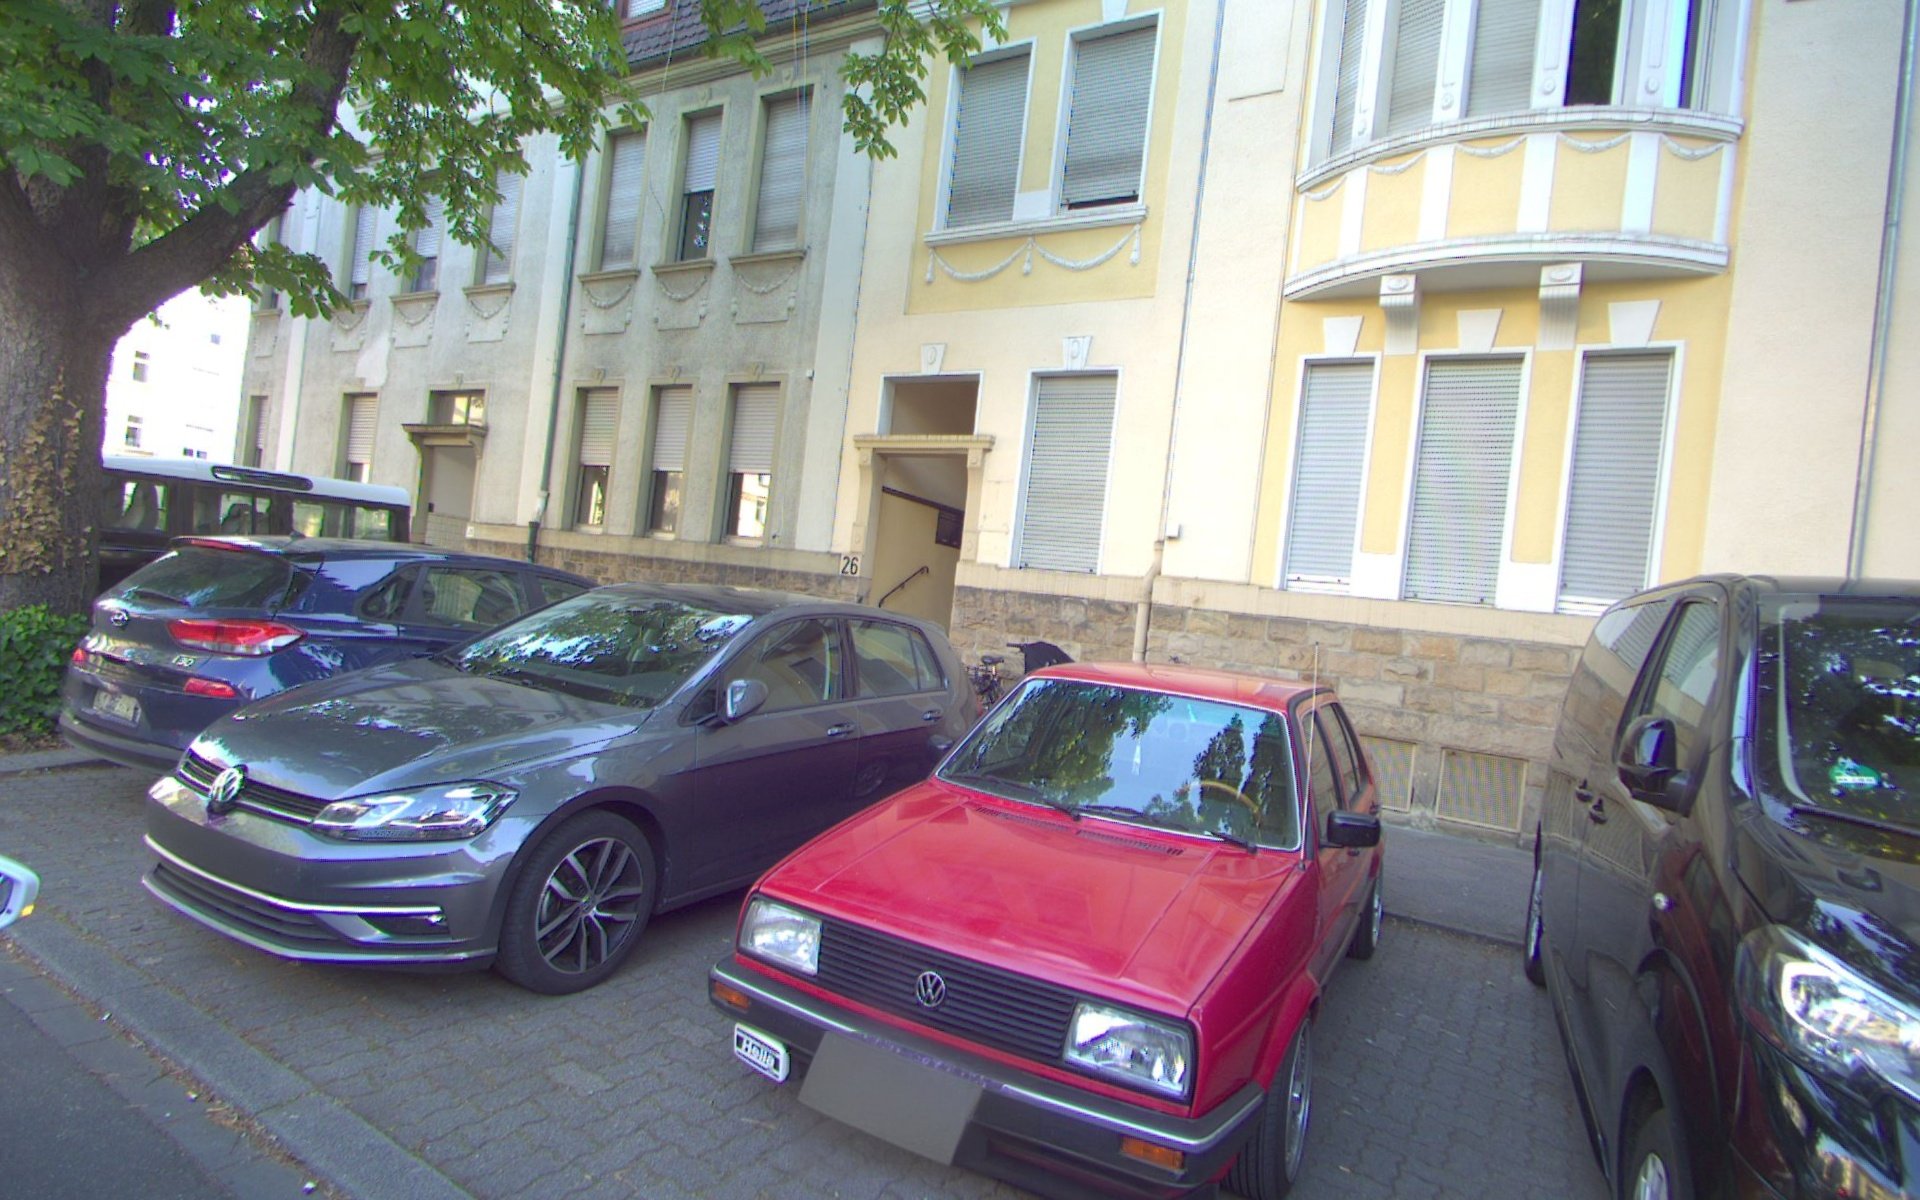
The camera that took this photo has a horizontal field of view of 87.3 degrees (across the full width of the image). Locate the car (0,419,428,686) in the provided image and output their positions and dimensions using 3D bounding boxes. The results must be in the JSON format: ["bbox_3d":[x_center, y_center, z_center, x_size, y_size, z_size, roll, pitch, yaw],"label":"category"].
[{"bbox_3d":[-7.591,-0.365,9.239,1.671,2.061,4.473,6,0,28],"label":"car"}]

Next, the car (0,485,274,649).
[{"bbox_3d":[-9.985,-0.382,10.940,1.679,1.589,3.730,6,0,28],"label":"car"}]

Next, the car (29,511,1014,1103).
[{"bbox_3d":[-1.430,0.625,4.819,1.693,1.470,4.060,6,0,28],"label":"car"}]

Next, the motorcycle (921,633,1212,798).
[{"bbox_3d":[0.958,0.999,9.398,2.439,1.087,0.959,7,2,32],"label":"motorcycle"}]

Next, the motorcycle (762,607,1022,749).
[{"bbox_3d":[-0.788,0.779,10.787,2.822,1.087,0.694,7,2,31],"label":"motorcycle"}]

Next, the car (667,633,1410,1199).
[{"bbox_3d":[0.877,0.949,4.308,1.601,1.332,4.144,6,0,27],"label":"car"}]

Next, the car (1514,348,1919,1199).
[{"bbox_3d":[2.854,0.874,2.880,1.864,1.898,4.759,6,0,27],"label":"car"}]

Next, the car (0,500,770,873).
[{"bbox_3d":[-3.084,0.429,6.202,1.679,1.470,3.730,6,0,28],"label":"car"}]
